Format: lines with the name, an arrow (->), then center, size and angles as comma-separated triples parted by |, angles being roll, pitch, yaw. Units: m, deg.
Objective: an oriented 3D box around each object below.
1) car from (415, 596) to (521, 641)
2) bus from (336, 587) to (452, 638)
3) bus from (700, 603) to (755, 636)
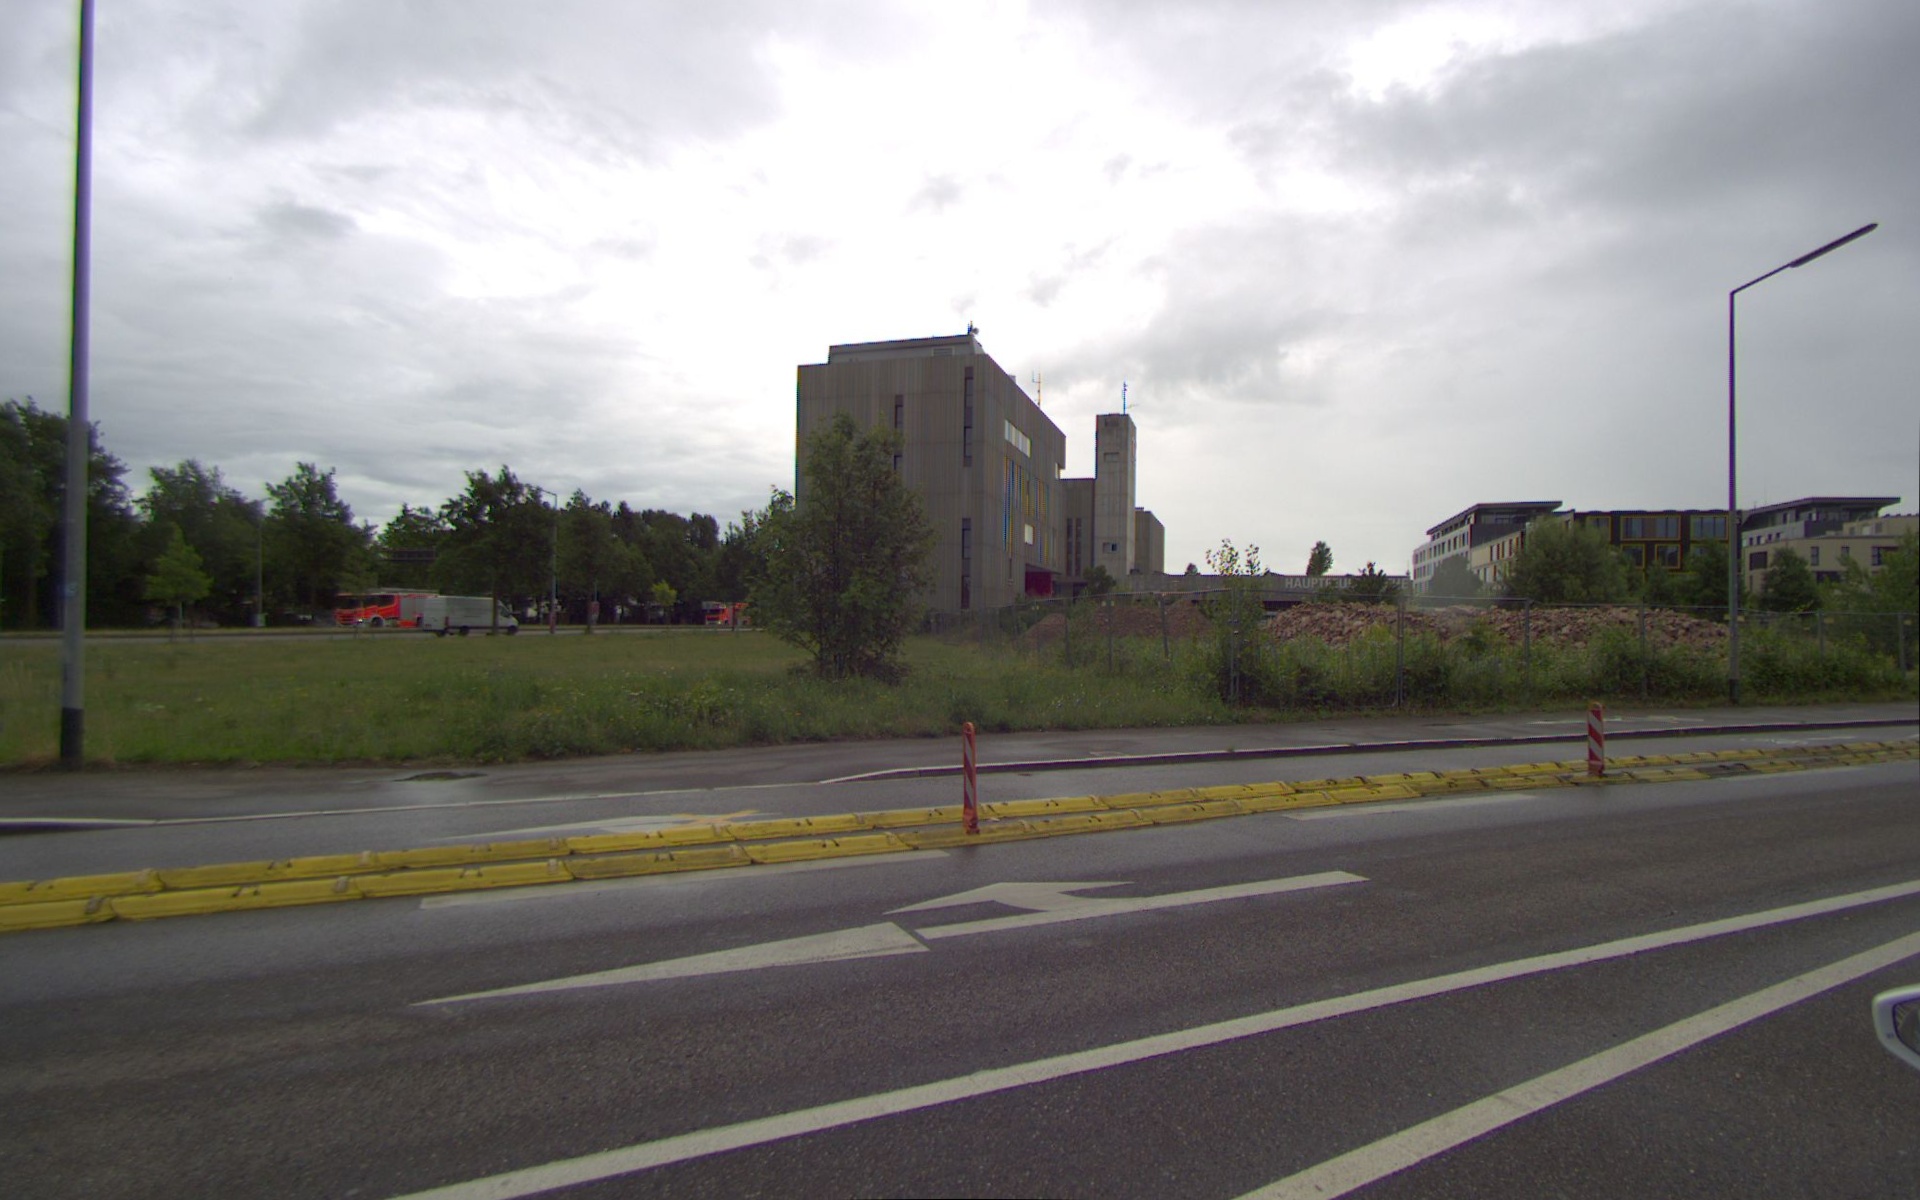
car -> -31.963, 1.204, 65.553 | 2.350, 2.740, 6.576 | 0, -1, 17
bus -> -43.106, 1.009, 76.941 | 2.679, 3.696, 8.403 | 0, -1, 14
bus -> -29.810, 2.507, 129.520 | 2.679, 4.035, 9.896 | 0, -1, 14
